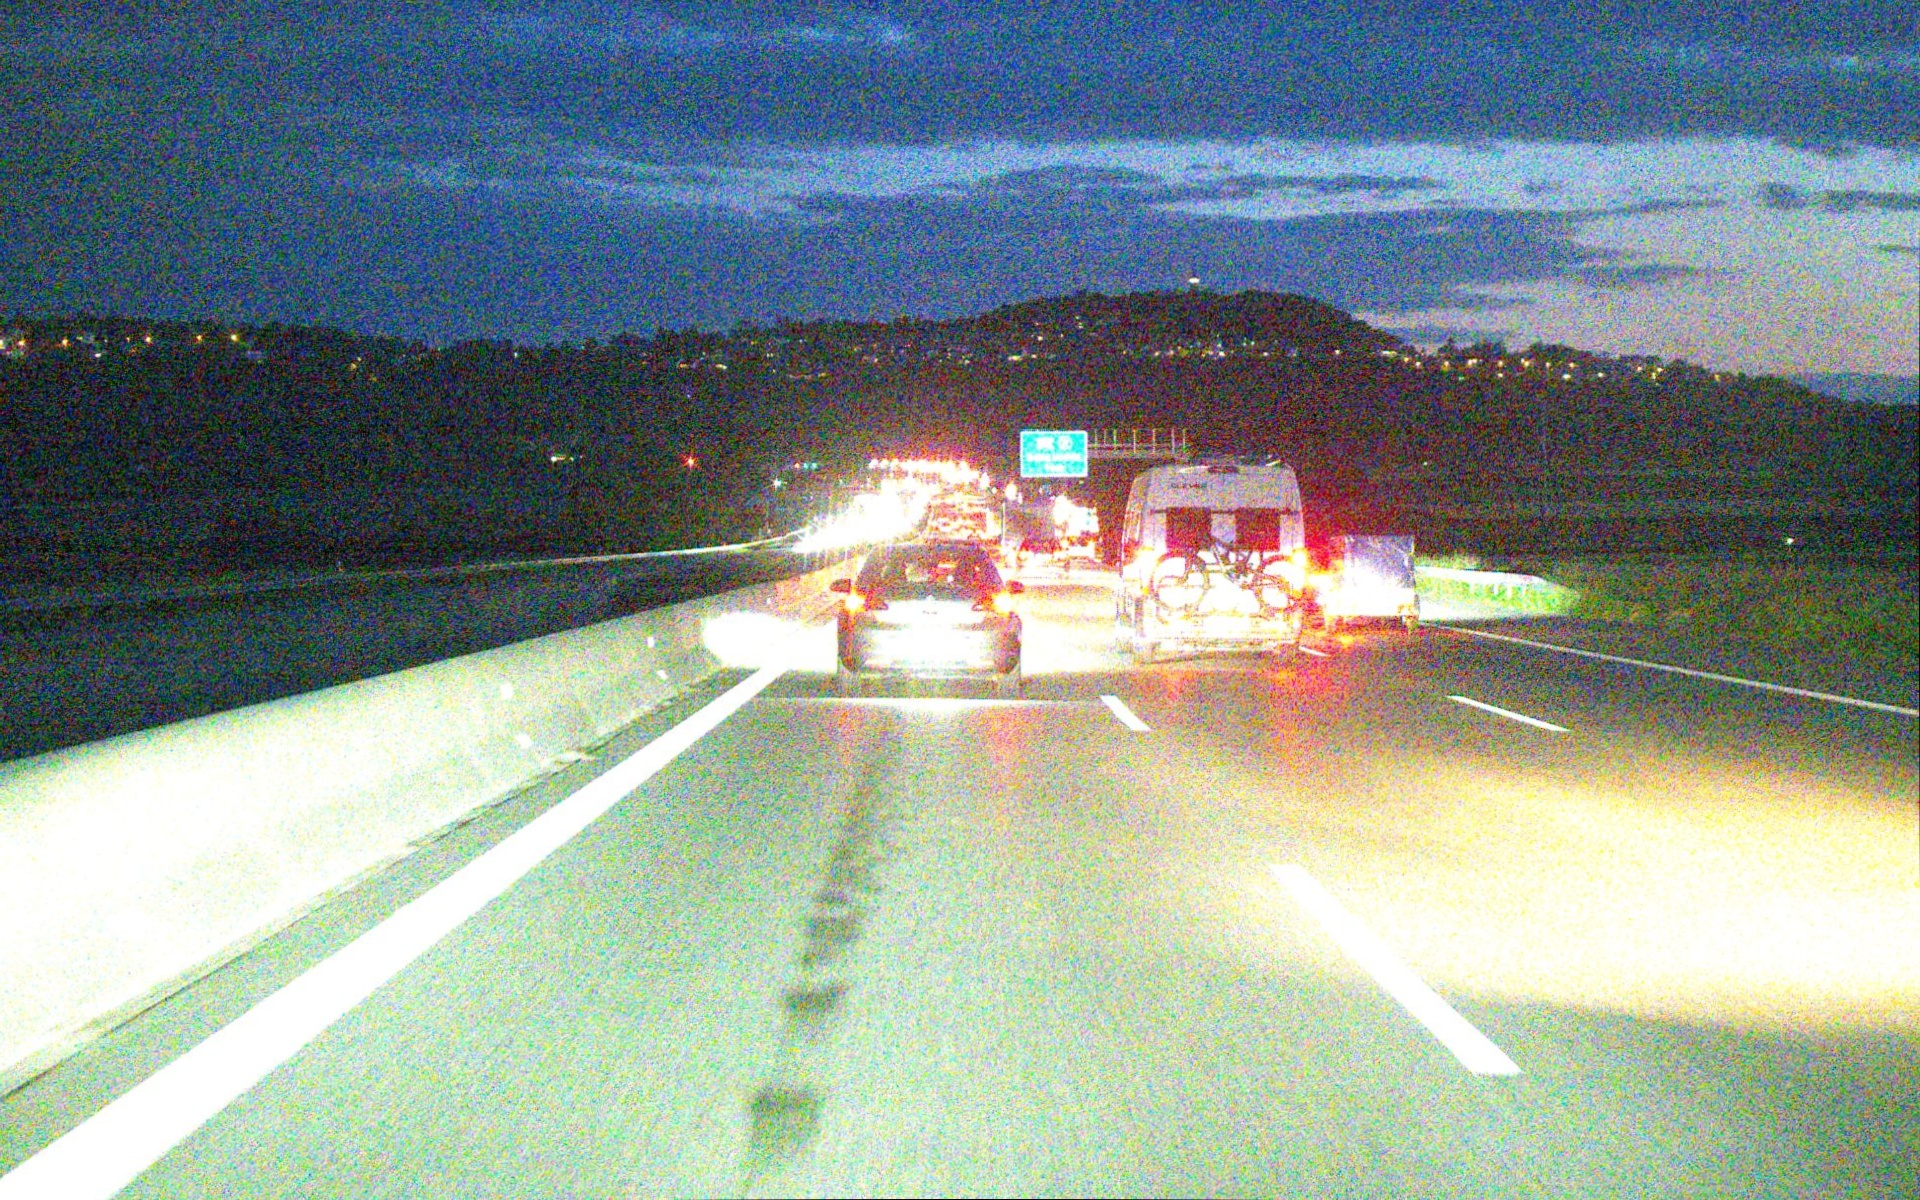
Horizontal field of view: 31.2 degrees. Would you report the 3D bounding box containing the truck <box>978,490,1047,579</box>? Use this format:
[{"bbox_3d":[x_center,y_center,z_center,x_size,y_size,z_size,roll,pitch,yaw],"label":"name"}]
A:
[{"bbox_3d":[2.343,-2.994,157.286,2.781,3.942,7.994,-1,1,-2],"label":"truck"}]

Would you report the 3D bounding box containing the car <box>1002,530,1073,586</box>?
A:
[{"bbox_3d":[2.677,-1.489,120.247,2.351,1.907,4.723,-1,1,0],"label":"car"}]

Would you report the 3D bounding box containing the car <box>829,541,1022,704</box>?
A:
[{"bbox_3d":[-0.320,0.180,34.131,1.793,1.464,3.773,1,2,0],"label":"car"}]

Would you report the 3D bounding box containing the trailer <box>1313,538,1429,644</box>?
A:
[{"bbox_3d":[6.741,-0.172,56.598,1.566,1.687,2.821,0,1,0],"label":"trailer"}]

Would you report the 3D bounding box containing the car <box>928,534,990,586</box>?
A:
[{"bbox_3d":[-0.026,-1.192,101.166,1.744,1.435,4.368,-1,2,0],"label":"car"}]

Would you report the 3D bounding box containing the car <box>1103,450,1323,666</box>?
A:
[{"bbox_3d":[3.101,-0.575,43.375,2.351,2.526,5.701,-1,2,0],"label":"car"}]

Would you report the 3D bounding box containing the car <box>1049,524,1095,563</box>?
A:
[{"bbox_3d":[6.162,-3.138,188.998,2.351,2.068,4.723,-1,2,0],"label":"car"}]

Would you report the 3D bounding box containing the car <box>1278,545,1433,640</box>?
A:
[{"bbox_3d":[6.879,-0.161,60.273,2.163,1.558,4.723,0,1,0],"label":"car"}]
